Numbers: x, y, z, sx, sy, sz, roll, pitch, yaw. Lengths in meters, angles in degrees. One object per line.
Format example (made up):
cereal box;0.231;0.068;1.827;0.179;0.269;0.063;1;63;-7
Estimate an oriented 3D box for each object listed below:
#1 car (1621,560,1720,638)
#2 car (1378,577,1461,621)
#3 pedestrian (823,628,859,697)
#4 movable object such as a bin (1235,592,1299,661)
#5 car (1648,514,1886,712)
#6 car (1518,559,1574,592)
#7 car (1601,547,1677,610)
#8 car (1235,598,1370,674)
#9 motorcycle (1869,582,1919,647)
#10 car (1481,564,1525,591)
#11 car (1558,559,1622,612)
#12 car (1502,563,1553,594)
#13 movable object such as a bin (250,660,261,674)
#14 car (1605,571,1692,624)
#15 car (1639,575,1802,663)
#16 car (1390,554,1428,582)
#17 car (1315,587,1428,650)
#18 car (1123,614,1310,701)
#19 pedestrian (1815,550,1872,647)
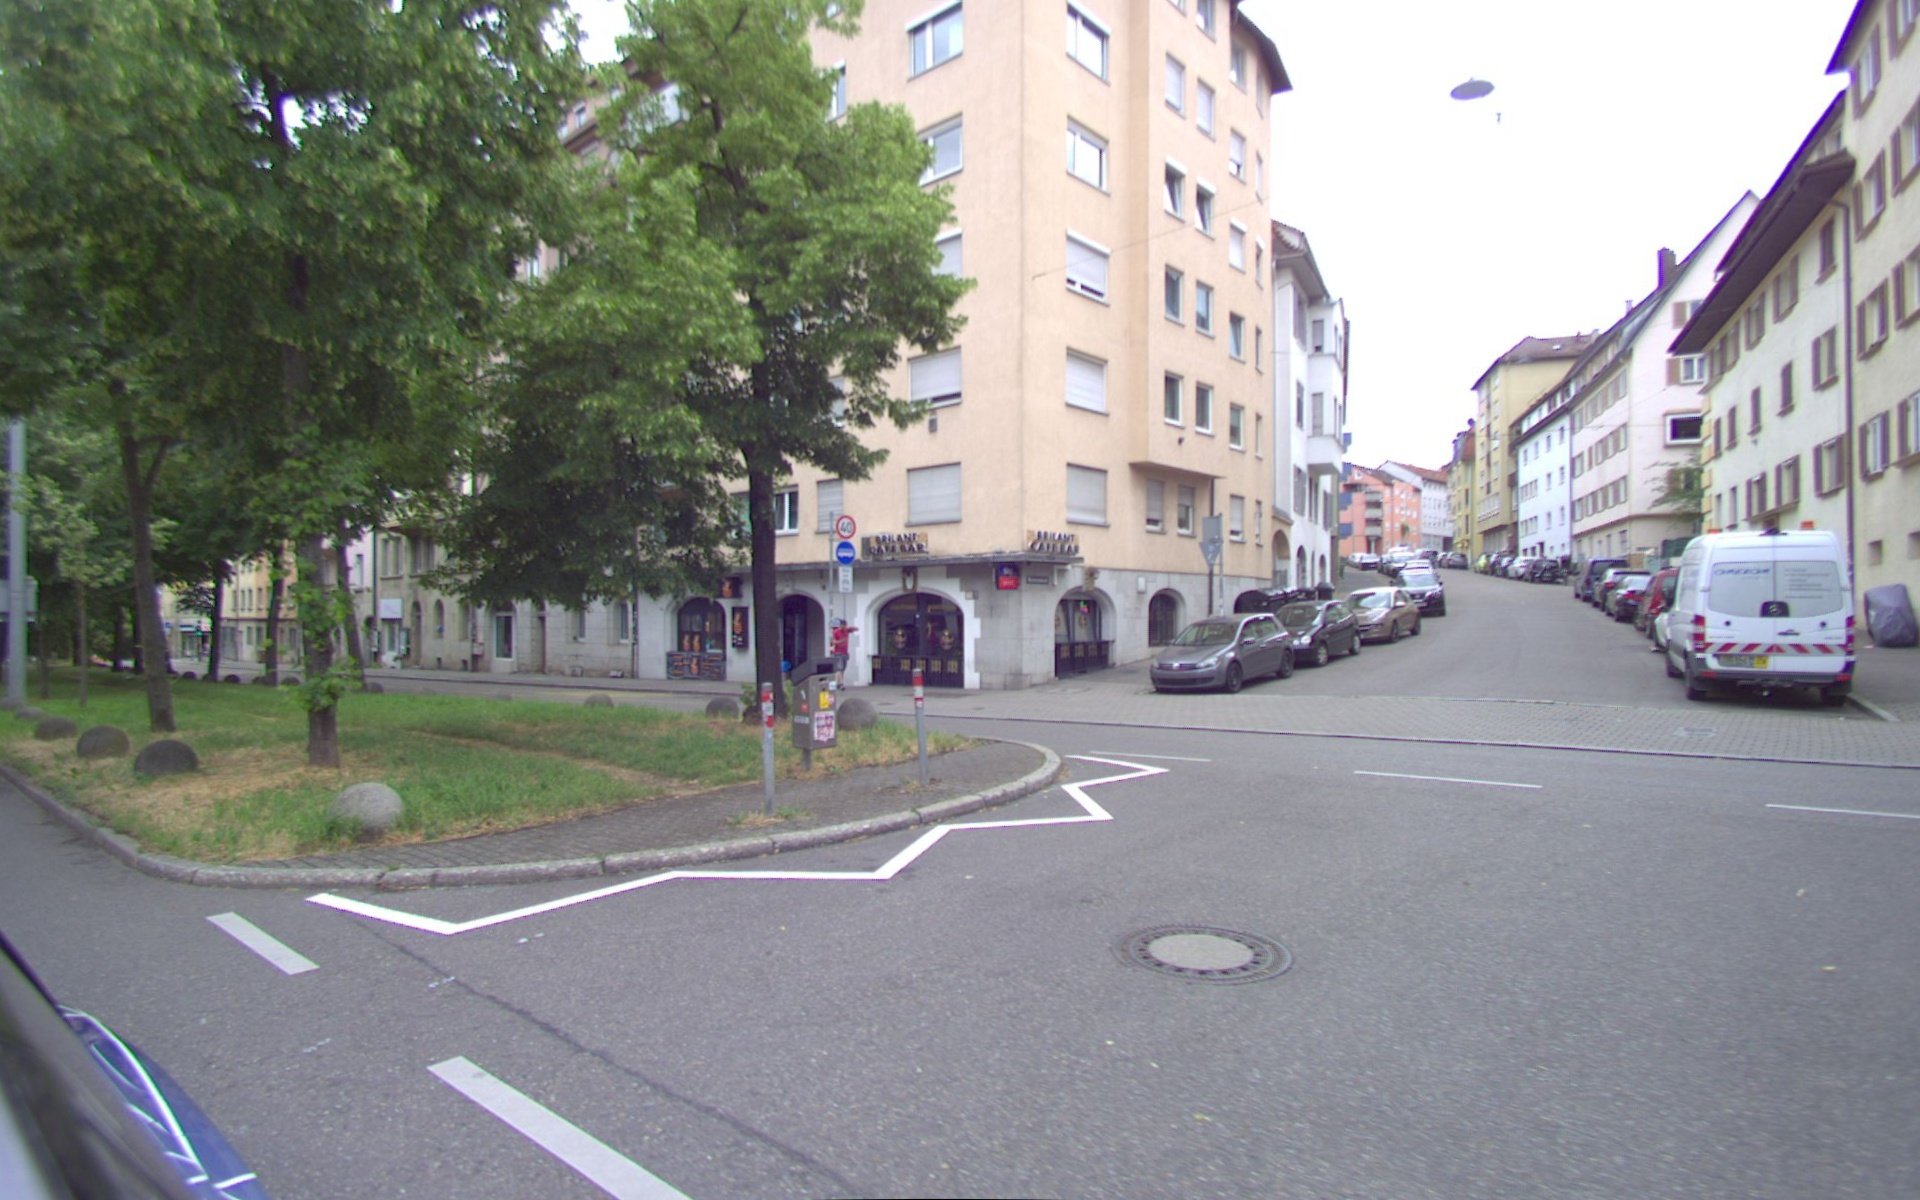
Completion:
car;18.480;-0.028;26.467;1.801;1.837;3.957;-3;-1;32
car;16.852;-0.059;37.016;1.996;1.453;3.952;-3;-1;35
pedestrian;-2.929;1.535;24.978;0.701;1.679;0.526;-3;-3;42
movable object such as a bin;9.434;0.788;31.063;1.094;2.029;1.973;-3;-1;41
car;13.110;0.049;16.851;2.168;2.756;5.140;-3;3;29
car;34.429;-1.426;59.587;1.983;1.792;3.977;-2;0;18
car;24.119;-0.743;36.074;1.993;2.029;3.957;-3;-1;32
car;8.549;0.839;25.031;1.996;1.430;3.952;-3;3;37
motorcycle;20.302;0.298;21.804;0.682;1.344;1.844;-3;-2;32
car;39.133;-1.614;73.020;1.983;1.792;3.977;-2;0;18
car;26.255;-0.578;42.127;1.995;2.029;3.953;-3;-1;35
car;35.710;-1.344;63.778;1.983;1.792;3.977;-2;0;18
movable object such as a bin;-49.335;4.719;70.891;0.506;0.934;0.779;-1;-2;-44
car;21.269;-0.067;31.406;1.993;1.475;3.957;-3;-1;32
car;16.016;0.339;21.586;1.991;1.649;4.727;-3;0;28
car;31.985;-2.258;72.157;1.983;1.792;3.977;-2;0;18
car;11.869;0.497;29.031;1.901;1.430;3.992;-3;2;39
car;5.532;1.161;21.507;2.047;1.430;4.242;-4;0;42
pedestrian;18.954;-0.018;21.728;0.818;2.029;0.803;-3;-2;40
